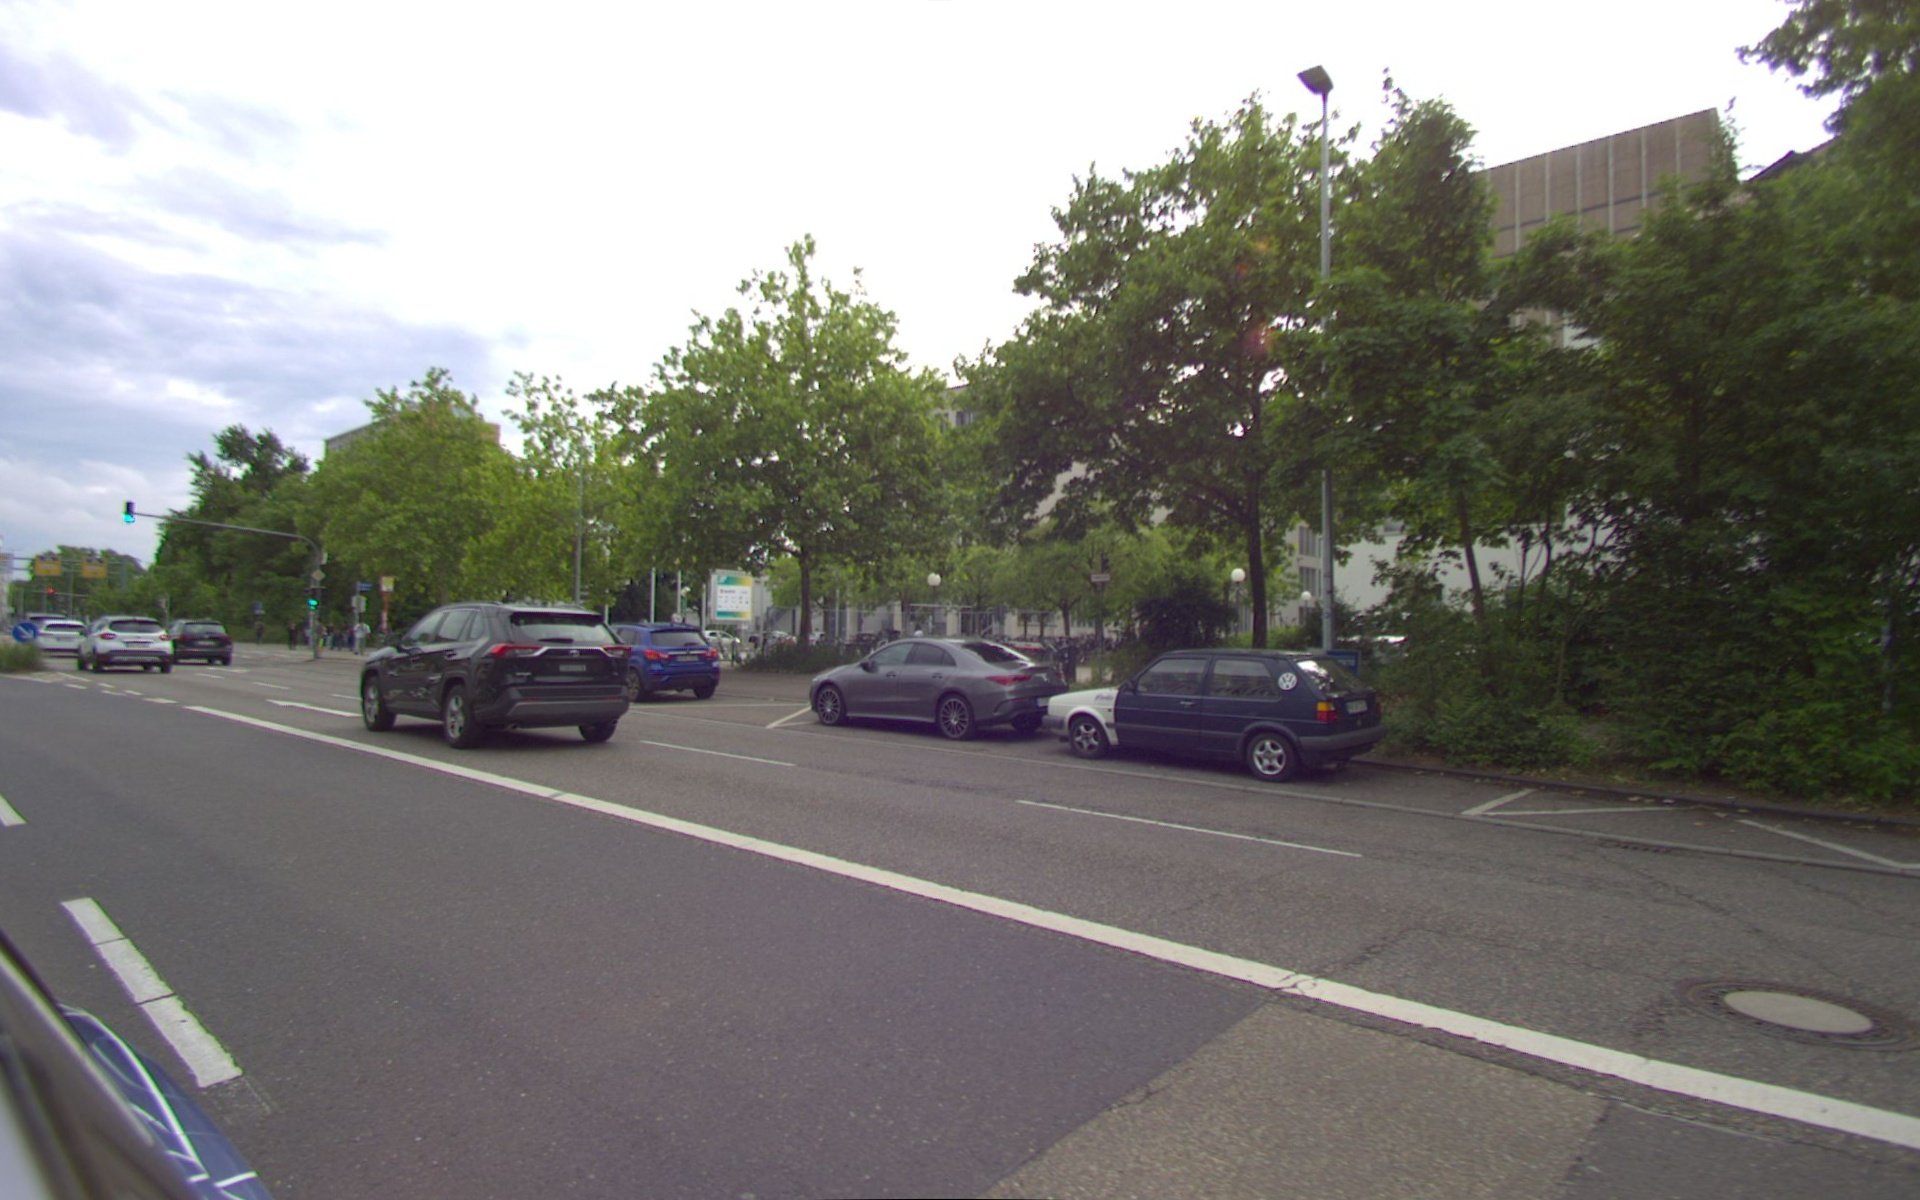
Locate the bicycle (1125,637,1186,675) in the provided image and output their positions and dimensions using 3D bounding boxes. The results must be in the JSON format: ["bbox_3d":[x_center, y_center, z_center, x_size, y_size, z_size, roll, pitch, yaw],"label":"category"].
[{"bbox_3d":[8.454,2.428,43.674,2.621,1.571,0.925,3,-3,-31],"label":"bicycle"}]

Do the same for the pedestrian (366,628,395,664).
[{"bbox_3d":[-29.756,2.384,51.966,0.935,1.817,0.886,-1,-5,38],"label":"pedestrian"}]

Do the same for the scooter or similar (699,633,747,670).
[{"bbox_3d":[-8.242,1.805,35.222,0.566,1.253,1.558,-2,-4,42],"label":"scooter or similar"}]

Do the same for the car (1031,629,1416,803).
[{"bbox_3d":[3.022,1.208,12.063,3.999,1.702,1.972,-2,-2,42],"label":"car"}]

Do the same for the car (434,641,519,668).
[{"bbox_3d":[-28.608,3.212,59.981,1.997,1.483,4.102,-2,-2,38],"label":"car"}]

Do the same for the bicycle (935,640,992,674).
[{"bbox_3d":[0.176,2.776,49.166,2.621,1.571,0.925,3,-3,-31],"label":"bicycle"}]

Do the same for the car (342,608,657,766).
[{"bbox_3d":[-5.835,0.982,12.561,4.515,1.605,1.882,-2,-4,42],"label":"car"}]

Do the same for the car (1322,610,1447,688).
[{"bbox_3d":[9.652,1.067,22.896,1.650,1.614,3.550,-2,-2,39],"label":"car"}]

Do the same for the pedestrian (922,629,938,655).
[{"bbox_3d":[-2.359,3.280,78.694,0.942,2.029,0.788,0,-3,25],"label":"pedestrian"}]

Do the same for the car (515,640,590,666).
[{"bbox_3d":[-25.591,3.316,63.658,1.997,1.483,3.948,-2,-2,38],"label":"car"}]

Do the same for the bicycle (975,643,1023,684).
[{"bbox_3d":[1.621,2.613,41.540,0.720,1.606,2.376,-1,-4,38],"label":"bicycle"}]

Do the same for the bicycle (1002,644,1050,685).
[{"bbox_3d":[2.652,2.575,40.430,0.720,1.606,2.376,-1,-4,38],"label":"bicycle"}]

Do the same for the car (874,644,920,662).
[{"bbox_3d":[-5.419,4.563,87.061,1.959,1.467,3.631,-1,-4,42],"label":"car"}]

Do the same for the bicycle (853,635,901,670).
[{"bbox_3d":[-3.790,2.409,46.585,0.919,1.571,2.426,-1,-3,31],"label":"bicycle"}]

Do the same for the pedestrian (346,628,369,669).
[{"bbox_3d":[-31.067,2.509,52.172,0.848,2.074,0.663,-1,0,25],"label":"pedestrian"}]

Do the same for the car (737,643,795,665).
[{"bbox_3d":[-14.599,4.097,76.454,1.888,1.565,3.944,-2,-4,42],"label":"car"}]

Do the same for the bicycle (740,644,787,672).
[{"bbox_3d":[-8.278,2.452,42.702,0.717,1.153,2.312,0,-3,24],"label":"bicycle"}]

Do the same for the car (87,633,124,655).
[{"bbox_3d":[-63.572,3.273,75.251,1.969,1.632,4.005,4,-4,-41],"label":"car"}]

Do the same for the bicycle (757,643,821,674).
[{"bbox_3d":[-6.854,2.366,40.732,0.720,1.183,2.720,-1,-4,38],"label":"bicycle"}]

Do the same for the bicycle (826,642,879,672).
[{"bbox_3d":[-4.952,2.656,46.831,0.720,1.339,2.791,-1,-4,38],"label":"bicycle"}]

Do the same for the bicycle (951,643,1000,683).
[{"bbox_3d":[0.660,2.639,42.210,0.720,1.606,2.376,-1,-4,38],"label":"bicycle"}]

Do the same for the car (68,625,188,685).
[{"bbox_3d":[-23.911,1.568,29.024,4.179,1.559,1.972,-2,-5,42],"label":"car"}]

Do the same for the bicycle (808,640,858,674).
[{"bbox_3d":[-6.047,2.703,48.244,0.919,1.571,2.638,-1,-3,31],"label":"bicycle"}]

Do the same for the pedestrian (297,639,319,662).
[{"bbox_3d":[-41.639,3.205,64.613,0.991,1.439,0.697,-1,-2,14],"label":"pedestrian"}]

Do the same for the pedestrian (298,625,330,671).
[{"bbox_3d":[-28.863,2.158,45.217,1.009,2.029,0.885,-2,-4,40],"label":"pedestrian"}]

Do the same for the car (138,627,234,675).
[{"bbox_3d":[-28.899,1.886,37.741,4.467,1.707,1.972,-2,-4,42],"label":"car"}]

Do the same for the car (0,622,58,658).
[{"bbox_3d":[-47.046,2.008,50.975,4.948,1.700,1.971,-2,-3,43],"label":"car"}]

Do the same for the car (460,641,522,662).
[{"bbox_3d":[-33.412,3.635,72.143,1.862,1.461,3.546,-2,-3,41],"label":"car"}]

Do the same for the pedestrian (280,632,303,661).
[{"bbox_3d":[-41.155,2.872,62.338,0.653,1.704,0.584,-2,-20,45],"label":"pedestrian"}]

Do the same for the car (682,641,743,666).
[{"bbox_3d":[-17.790,3.864,72.882,1.852,1.696,3.946,-2,-4,40],"label":"car"}]

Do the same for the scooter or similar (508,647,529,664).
[{"bbox_3d":[-18.981,2.380,43.480,1.290,0.699,0.402,-2,-2,45],"label":"scooter or similar"}]

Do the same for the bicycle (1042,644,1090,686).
[{"bbox_3d":[4.177,2.540,39.574,0.720,1.606,2.376,-1,-4,38],"label":"bicycle"}]

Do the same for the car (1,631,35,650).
[{"bbox_3d":[-81.093,3.465,87.109,1.970,1.541,4.277,4,-4,-44],"label":"car"}]

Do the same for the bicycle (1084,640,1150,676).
[{"bbox_3d":[6.989,2.578,44.963,3.036,1.571,0.925,3,-3,-31],"label":"bicycle"}]

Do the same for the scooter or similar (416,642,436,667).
[{"bbox_3d":[-25.121,2.561,47.631,1.319,1.149,0.356,-2,-4,42],"label":"scooter or similar"}]

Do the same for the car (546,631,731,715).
[{"bbox_3d":[-7.023,1.485,21.852,4.593,1.620,1.838,-2,-2,44],"label":"car"}]

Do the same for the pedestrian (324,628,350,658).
[{"bbox_3d":[-42.566,2.947,69.117,1.088,2.029,1.038,-1,-2,11],"label":"pedestrian"}]

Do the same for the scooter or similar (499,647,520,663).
[{"bbox_3d":[-19.929,2.422,44.781,1.290,0.699,0.402,-2,-2,45],"label":"scooter or similar"}]

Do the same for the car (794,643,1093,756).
[{"bbox_3d":[-0.408,1.408,15.533,1.852,1.435,4.731,4,-4,-44],"label":"car"}]

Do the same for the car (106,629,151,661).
[{"bbox_3d":[-49.949,2.680,60.749,1.751,1.862,4.492,1,-2,-44],"label":"car"}]

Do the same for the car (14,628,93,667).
[{"bbox_3d":[-37.155,1.910,41.422,4.909,1.477,1.883,-2,-2,42],"label":"car"}]

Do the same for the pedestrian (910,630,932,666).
[{"bbox_3d":[-2.246,2.770,58.360,0.884,2.029,0.796,4,-4,-41],"label":"pedestrian"}]

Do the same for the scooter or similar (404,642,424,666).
[{"bbox_3d":[-26.304,2.600,48.739,1.319,1.149,0.356,-2,-4,42],"label":"scooter or similar"}]

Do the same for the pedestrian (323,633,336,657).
[{"bbox_3d":[-43.218,3.066,69.386,0.600,1.619,0.498,-1,-2,31],"label":"pedestrian"}]
